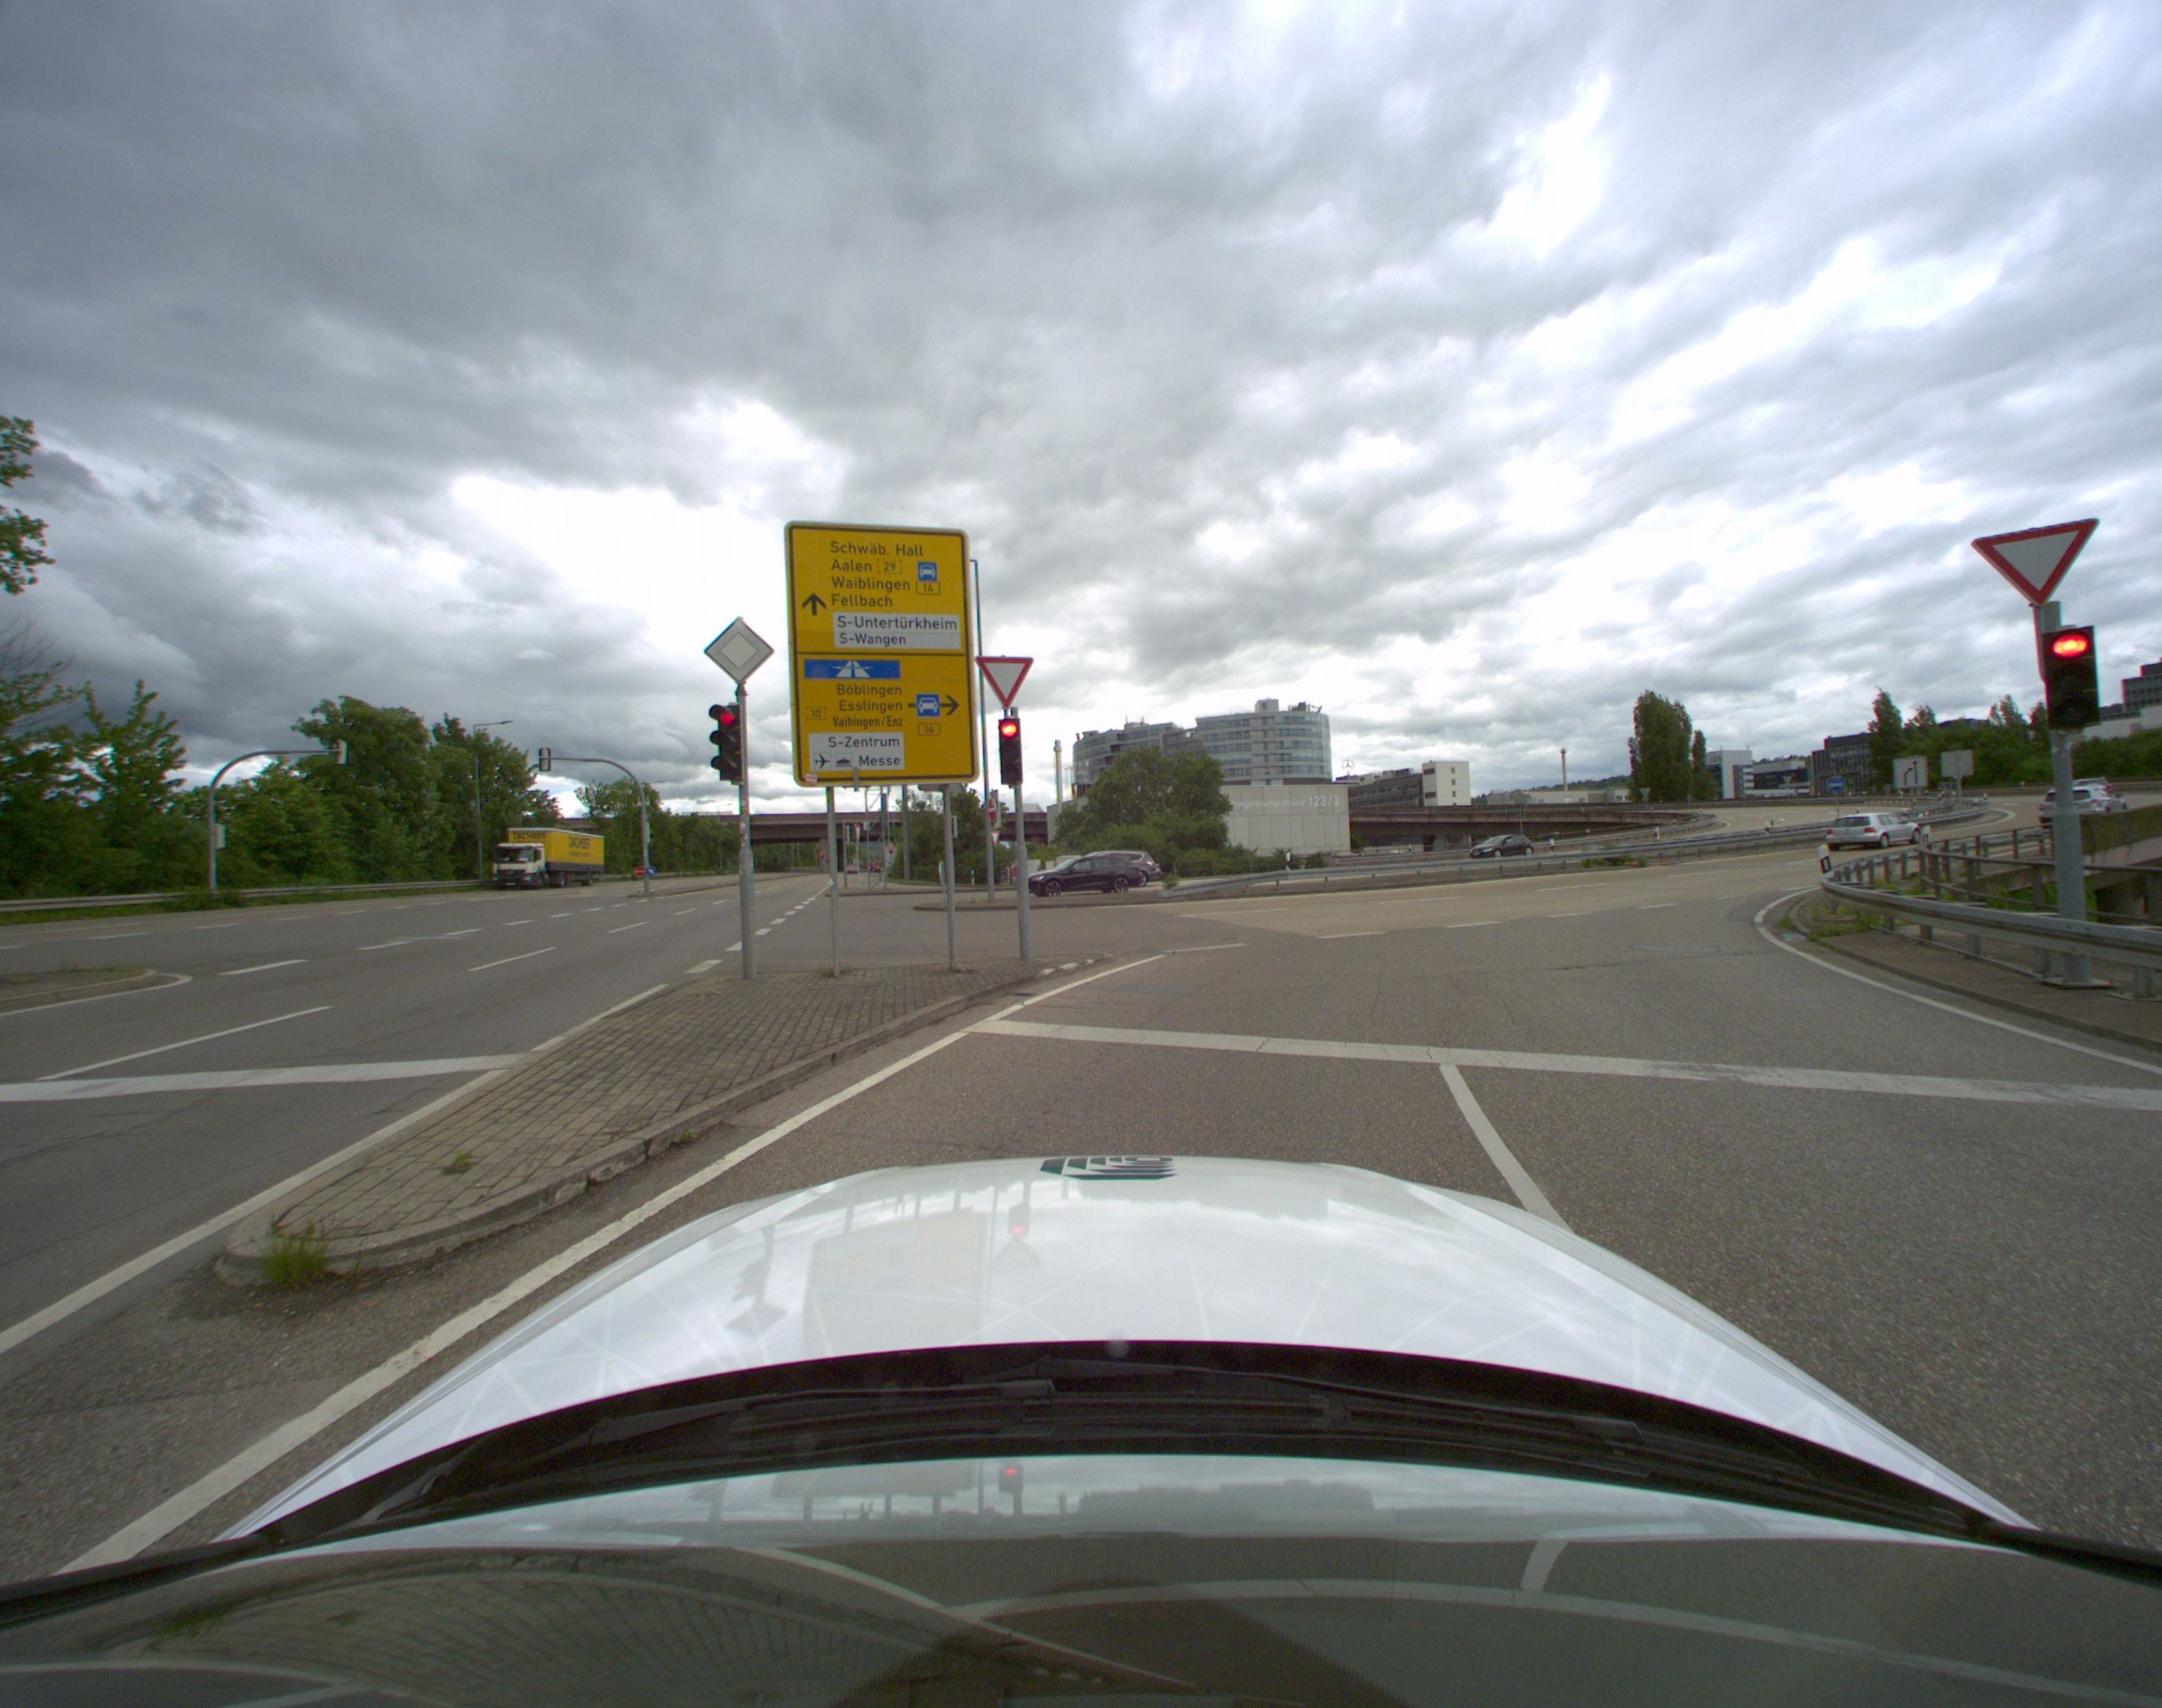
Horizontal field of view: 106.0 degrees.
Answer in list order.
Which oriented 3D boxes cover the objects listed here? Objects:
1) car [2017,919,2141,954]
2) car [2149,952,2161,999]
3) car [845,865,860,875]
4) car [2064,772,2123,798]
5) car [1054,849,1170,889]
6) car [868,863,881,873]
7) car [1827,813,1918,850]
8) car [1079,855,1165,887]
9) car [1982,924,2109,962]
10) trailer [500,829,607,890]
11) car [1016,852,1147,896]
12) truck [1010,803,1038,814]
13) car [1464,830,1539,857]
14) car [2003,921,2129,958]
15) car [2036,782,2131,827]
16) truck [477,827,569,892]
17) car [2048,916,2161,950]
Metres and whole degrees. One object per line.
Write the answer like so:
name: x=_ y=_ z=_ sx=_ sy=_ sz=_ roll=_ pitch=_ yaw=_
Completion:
car: x=52.192 y=4.272 z=42.661 sx=1.832 sy=1.354 sz=3.827 roll=-3 pitch=1 yaw=-29
car: x=41.810 y=4.460 z=30.229 sx=4.006 sy=1.534 sz=1.812 roll=-3 pitch=1 yaw=-25
car: x=-33.905 y=2.427 z=120.932 sx=1.996 sy=1.442 sz=4.089 roll=0 pitch=-2 yaw=-14
car: x=70.872 y=-4.822 z=57.059 sx=1.707 sy=1.461 sz=4.271 roll=-4 pitch=-1 yaw=40
car: x=1.337 y=0.610 z=35.709 sx=4.690 sy=1.571 sz=1.944 roll=-1 pitch=1 yaw=-18
car: x=-32.858 y=2.224 z=129.441 sx=1.996 sy=1.464 sz=4.090 roll=0 pitch=-2 yaw=-14
car: x=32.173 y=-0.930 z=33.085 sx=4.080 sy=1.400 sz=1.712 roll=-2 pitch=0 yaw=-32
car: x=2.358 y=0.931 z=46.401 sx=4.710 sy=1.662 sz=1.917 roll=2 pitch=0 yaw=4
car: x=48.149 y=4.407 z=40.729 sx=1.832 sy=1.354 sz=3.827 roll=-3 pitch=1 yaw=-29
trailer: x=-38.695 y=0.357 z=60.357 sx=2.875 sy=4.084 sz=11.375 roll=1 pitch=0 yaw=-13
car: x=-0.008 y=0.711 z=30.968 sx=4.617 sy=1.457 sz=1.945 roll=-1 pitch=1 yaw=-17
truck: x=-11.558 y=-9.185 z=165.335 sx=5.604 sy=2.163 sz=2.000 roll=-1 pitch=0 yaw=-1
car: x=25.851 y=-0.664 z=50.080 sx=3.997 sy=1.421 sz=1.902 roll=-4 pitch=2 yaw=-22
car: x=50.305 y=4.319 z=41.682 sx=1.832 sy=1.354 sz=3.827 roll=-3 pitch=1 yaw=-29
car: x=42.879 y=-2.106 z=34.821 sx=4.567 sy=1.737 sz=1.714 roll=-2 pitch=0 yaw=-28
truck: x=-37.449 y=0.347 z=54.940 sx=2.875 sy=4.084 sz=6.458 roll=1 pitch=0 yaw=-13
car: x=54.890 y=4.188 z=43.552 sx=1.832 sy=1.354 sz=3.827 roll=-3 pitch=1 yaw=-29
